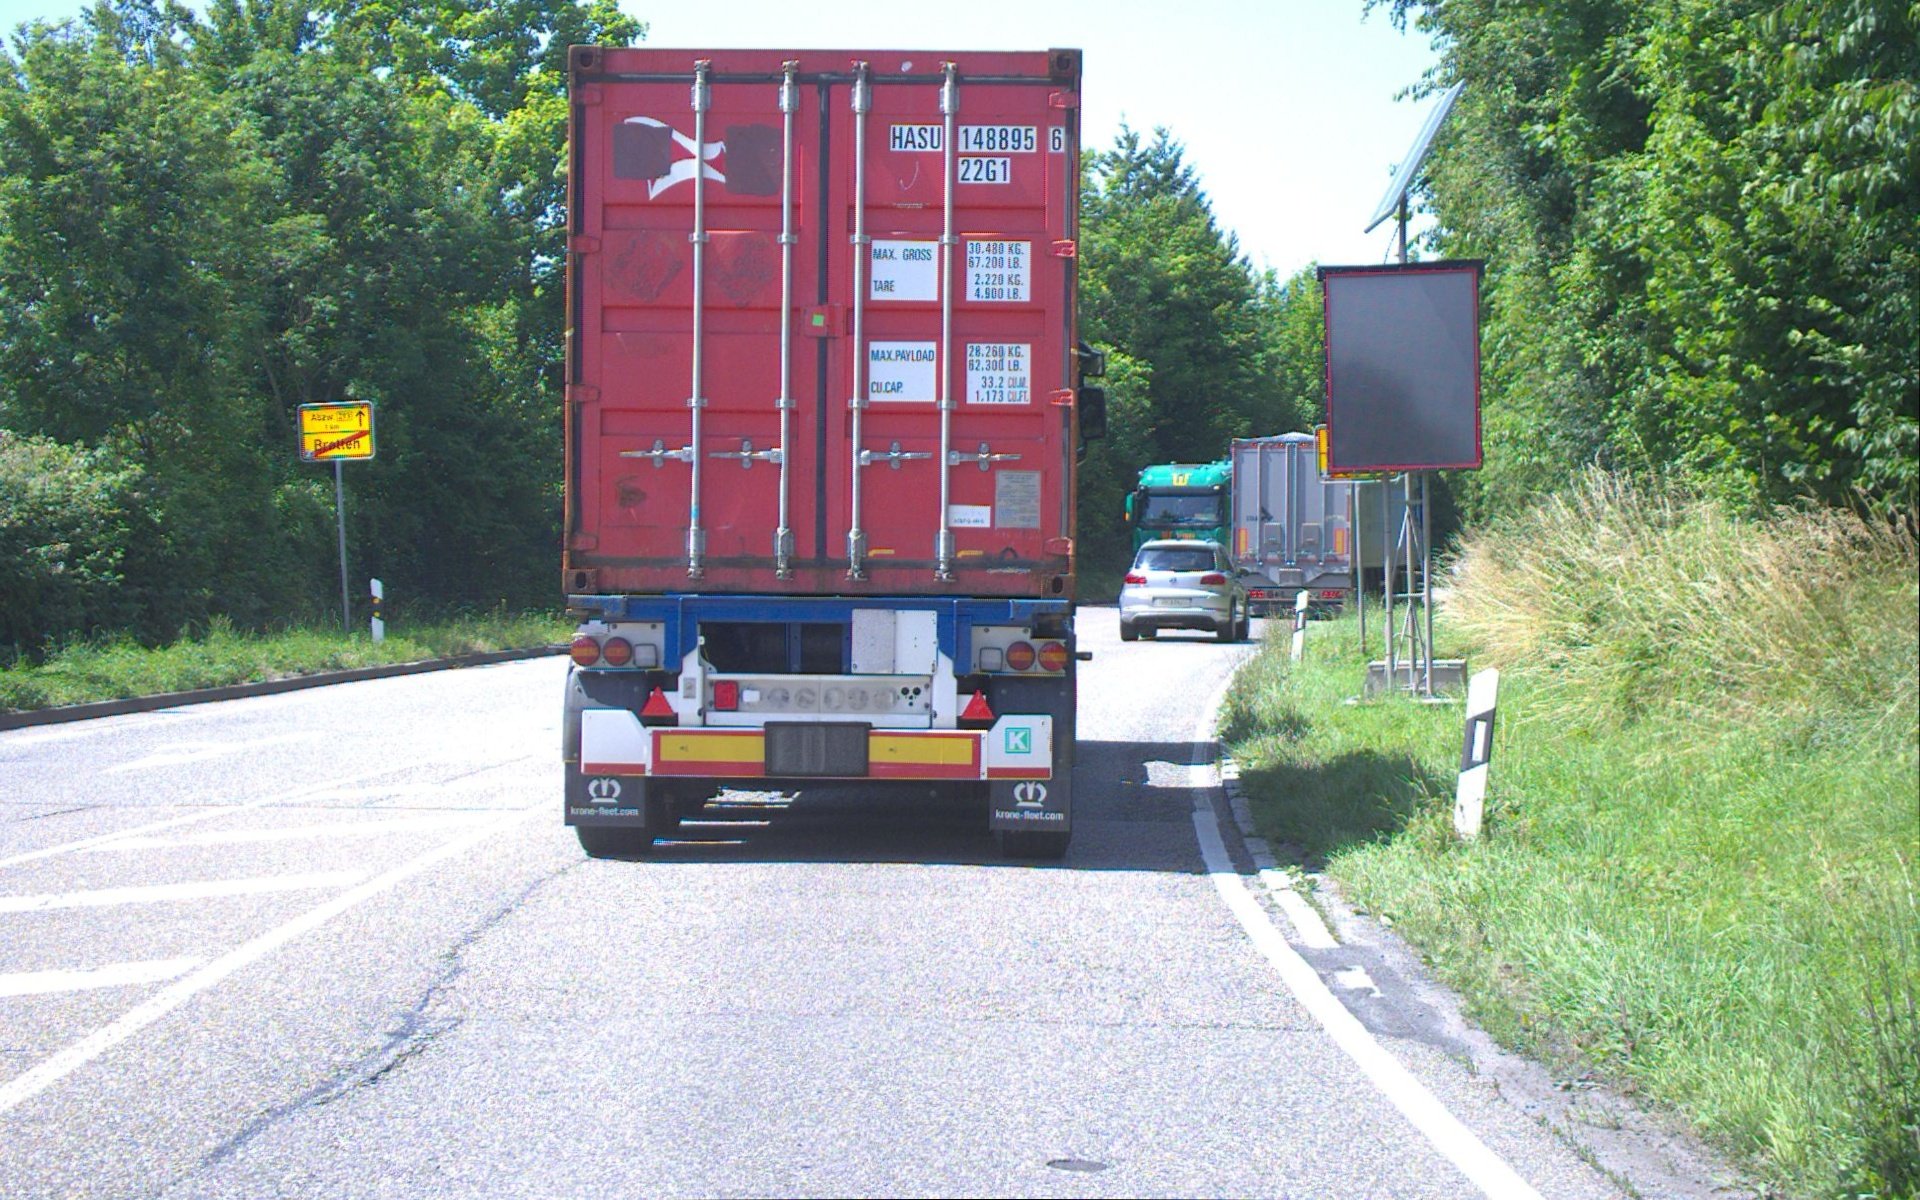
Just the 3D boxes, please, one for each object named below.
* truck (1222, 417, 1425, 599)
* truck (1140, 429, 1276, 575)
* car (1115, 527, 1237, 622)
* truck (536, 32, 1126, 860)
[{"bbox_3d":[8.493,-2.130,78.655,2.923,3.704,13.353,-2,1,13],"label":"truck"},{"bbox_3d":[6.659,-2.541,91.361,2.580,3.667,7.871,2,1,11],"label":"truck"},{"bbox_3d":[3.596,-0.447,56.702,1.833,1.428,3.999,-2,1,5],"label":"car"},{"bbox_3d":[-0.444,-0.785,22.747,2.648,3.793,13.359,2,1,1],"label":"truck"}]
